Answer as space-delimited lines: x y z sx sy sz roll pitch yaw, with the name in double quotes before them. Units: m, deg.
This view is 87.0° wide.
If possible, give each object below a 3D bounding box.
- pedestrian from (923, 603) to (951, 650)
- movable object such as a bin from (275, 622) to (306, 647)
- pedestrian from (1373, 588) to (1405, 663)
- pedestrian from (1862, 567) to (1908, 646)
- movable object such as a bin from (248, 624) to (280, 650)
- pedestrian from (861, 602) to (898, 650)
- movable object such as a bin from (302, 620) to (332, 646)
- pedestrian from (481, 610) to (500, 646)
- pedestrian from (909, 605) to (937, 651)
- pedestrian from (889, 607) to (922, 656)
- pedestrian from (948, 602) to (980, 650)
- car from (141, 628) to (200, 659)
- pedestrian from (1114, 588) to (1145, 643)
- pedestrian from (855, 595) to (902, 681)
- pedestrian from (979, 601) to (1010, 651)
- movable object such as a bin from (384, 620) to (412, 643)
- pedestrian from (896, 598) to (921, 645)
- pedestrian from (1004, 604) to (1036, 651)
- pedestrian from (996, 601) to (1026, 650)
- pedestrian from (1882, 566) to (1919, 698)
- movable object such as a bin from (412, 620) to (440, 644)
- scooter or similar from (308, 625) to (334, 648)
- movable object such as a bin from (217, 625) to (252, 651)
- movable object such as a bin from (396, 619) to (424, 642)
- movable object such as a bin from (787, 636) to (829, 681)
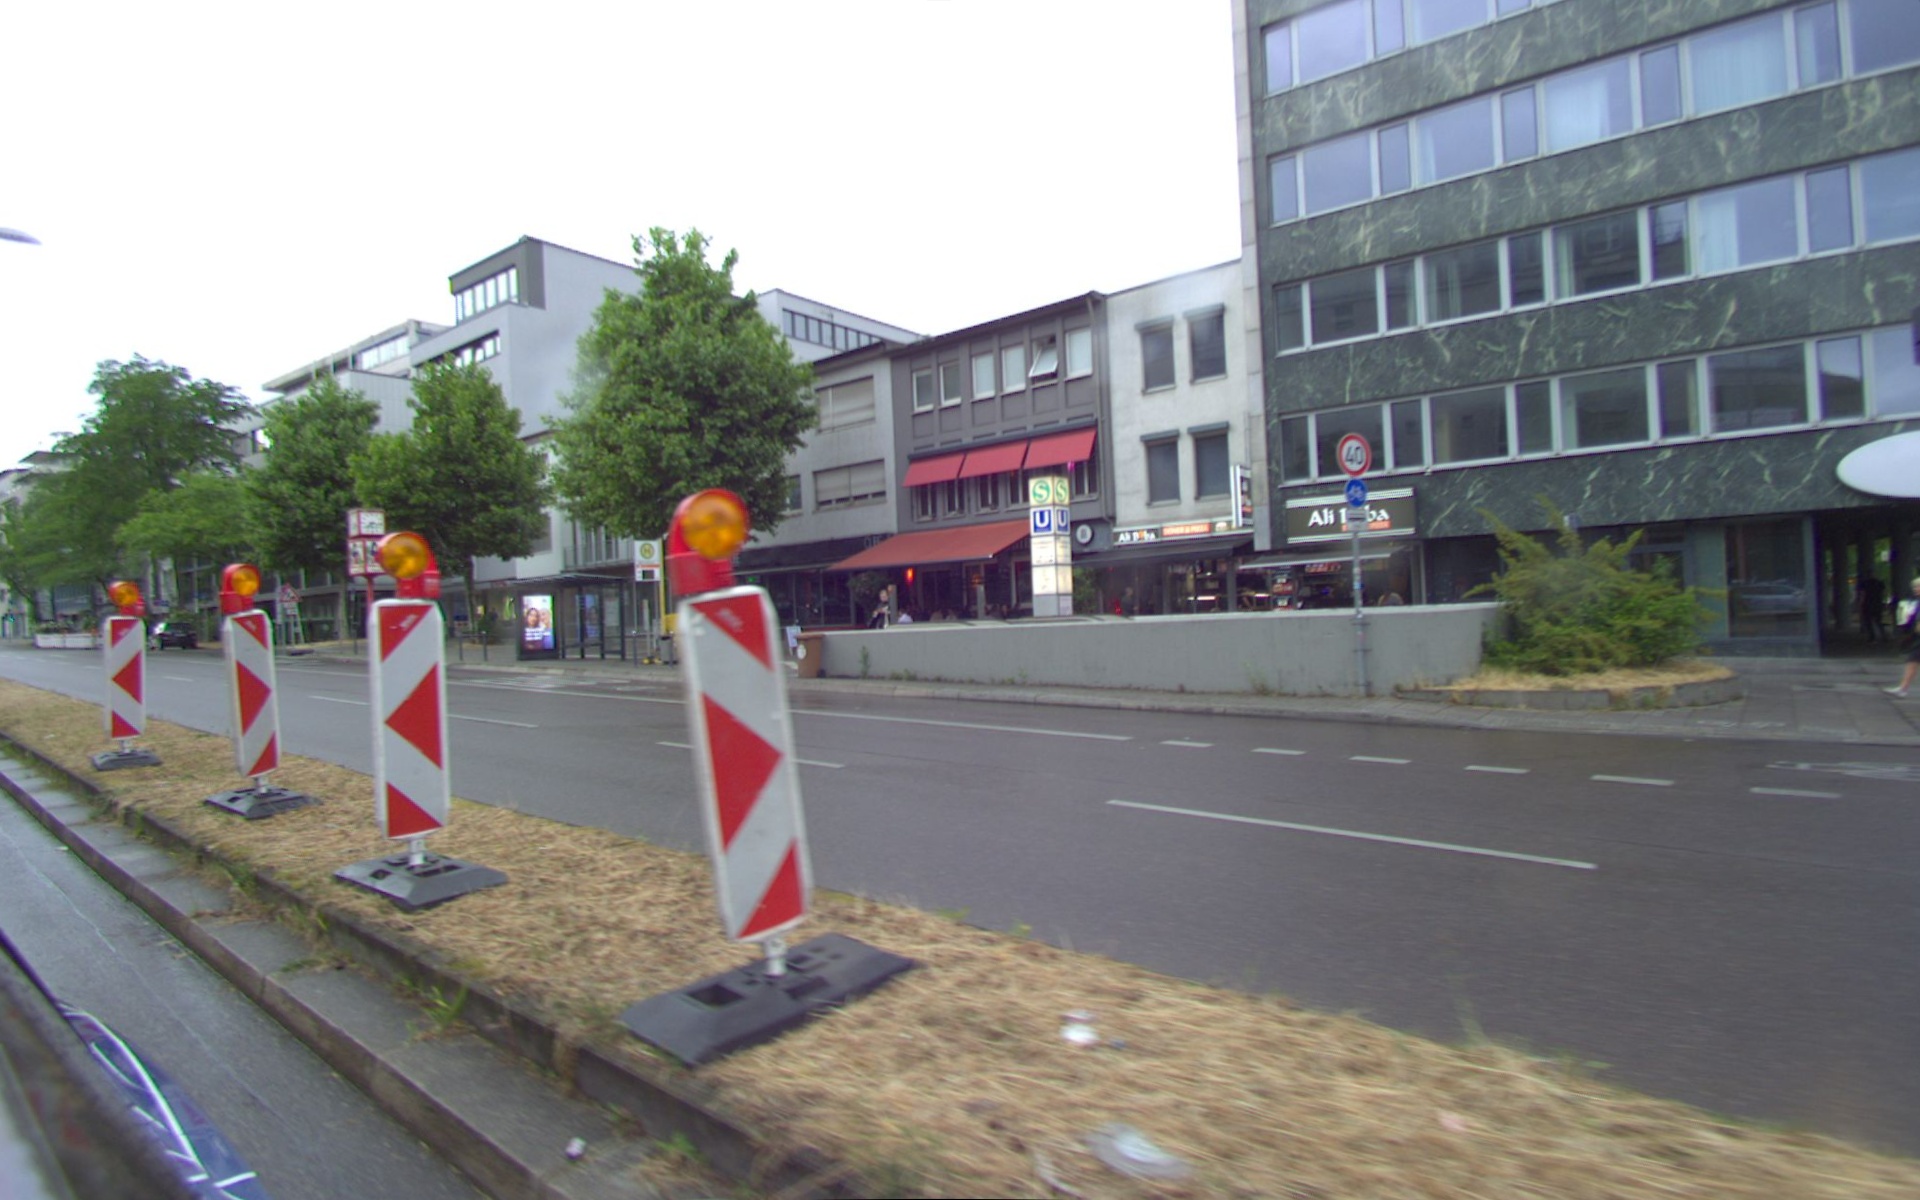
"pedestrian" -0.726 0.845 32.229 0.582 1.461 0.683 -2 -1 38
"movable object such as a bin" -39.315 2.024 59.420 1.088 1.437 1.265 -2 -1 41
"pedestrian" 11.074 0.642 26.127 0.590 1.899 0.749 -2 -1 34
"pedestrian" 22.451 0.159 24.574 0.690 1.899 0.749 -2 -1 37
"movable object such as a bin" -40.153 2.109 58.377 1.088 1.437 1.265 -2 -1 41
"pedestrian" -2.498 0.812 31.448 0.912 1.461 0.683 -2 -1 37
"movable object such as a bin" -38.424 1.945 60.474 1.088 1.499 1.265 -2 -1 41
"pedestrian" -23.282 1.368 50.184 0.653 1.776 0.688 -2 -1 43
"pedestrian" -1.193 0.894 32.671 0.546 1.461 0.683 -2 -1 37
"pedestrian" -1.664 0.945 30.828 0.706 1.461 0.683 -2 -1 37
"pedestrian" 0.114 0.818 31.605 0.690 1.461 0.720 -2 -1 34
"car" -45.014 2.492 57.704 4.019 1.648 1.761 -3 -2 38
"pedestrian" 4.579 0.409 27.327 0.587 1.461 0.597 -2 -1 36
"pedestrian" -1.845 0.857 22.943 0.757 1.899 0.683 -2 -1 37
"pedestrian" 1.047 0.786 30.577 0.690 1.461 0.627 -2 -1 34
"movable object such as a bin" -36.057 2.032 64.875 1.278 1.446 1.077 -2 -1 32
"pedestrian" -1.751 0.722 34.650 0.603 1.582 0.591 -2 -1 31
"pedestrian" 1.792 0.818 30.125 0.690 1.354 0.627 -2 -1 34
"pedestrian" 1.574 0.788 31.299 0.690 1.461 0.627 -2 -1 34
"pedestrian" 12.408 0.392 12.885 0.745 1.665 0.694 -1 -1 -24
"movable object such as a bin" -33.468 1.991 63.425 1.278 1.446 1.077 -2 -1 32
"scooter or similar" -34.170 1.945 54.119 1.323 1.130 0.767 -6 -1 42
"movable object such as a bin" -41.065 2.133 57.285 1.088 1.437 1.345 -2 -1 41
"movable object such as a bin" -34.772 1.939 64.019 1.278 1.446 1.077 -2 -1 32
"movable object such as a bin" -3.132 1.193 20.796 0.680 0.904 0.527 -2 -3 32
